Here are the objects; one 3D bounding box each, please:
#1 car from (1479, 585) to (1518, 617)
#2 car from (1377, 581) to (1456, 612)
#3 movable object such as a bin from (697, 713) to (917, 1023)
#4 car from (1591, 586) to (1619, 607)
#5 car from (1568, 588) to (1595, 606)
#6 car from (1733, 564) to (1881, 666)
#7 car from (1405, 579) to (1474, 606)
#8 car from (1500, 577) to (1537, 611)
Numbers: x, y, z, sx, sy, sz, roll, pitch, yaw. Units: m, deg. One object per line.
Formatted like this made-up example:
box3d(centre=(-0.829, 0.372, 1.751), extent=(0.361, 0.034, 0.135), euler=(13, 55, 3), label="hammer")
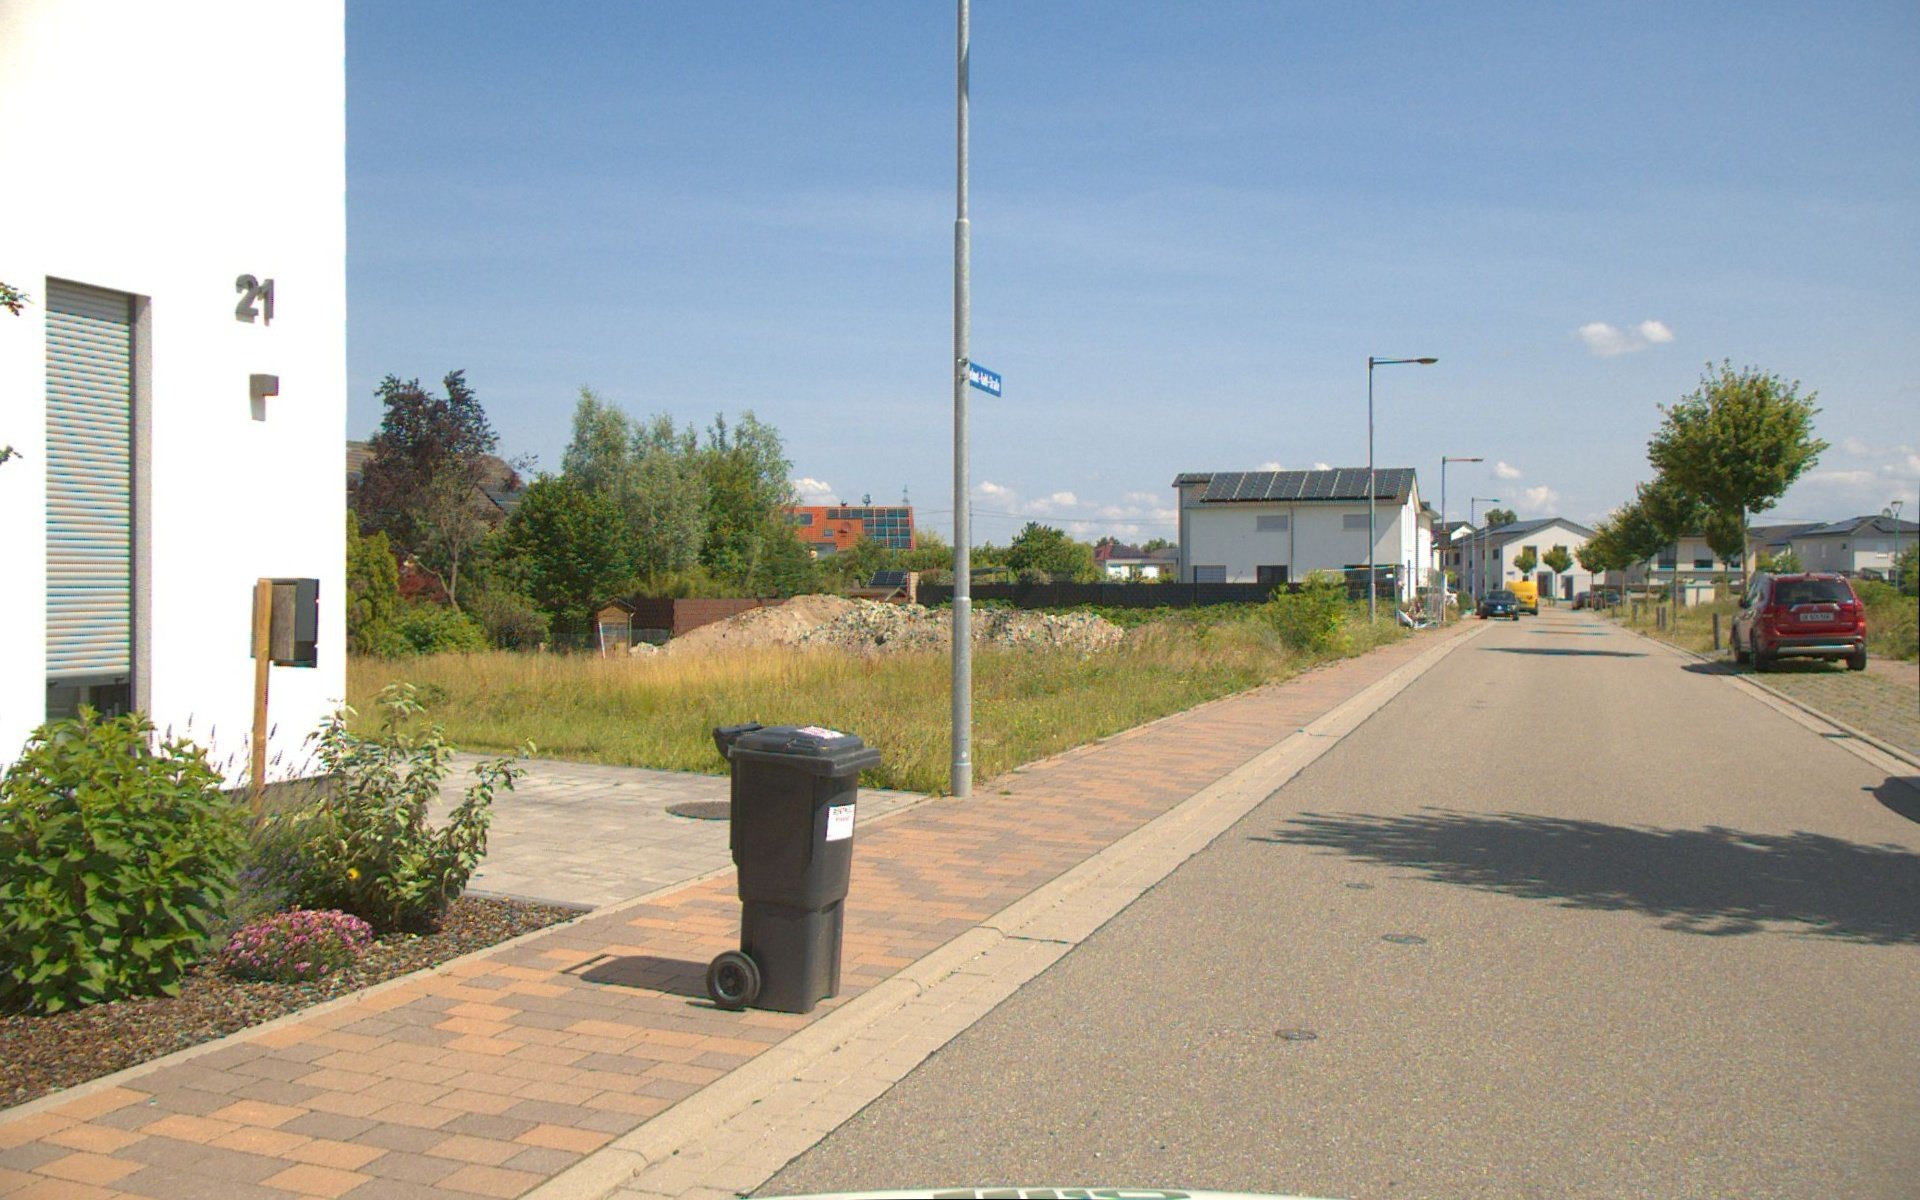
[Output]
box3d(centre=(26.549, 0.032, 81.499), extent=(1.709, 1.429, 4.161), euler=(3, 1, 19), label="car")
box3d(centre=(25.620, -0.227, 92.880), extent=(3.989, 1.609, 1.783), euler=(2, 2, 26), label="car")
box3d(centre=(-0.517, 0.892, 5.706), extent=(0.610, 0.965, 0.500), euler=(0, -1, 15), label="movable object such as a bin")
box3d(centre=(45.675, -0.259, 117.161), extent=(1.605, 1.427, 3.812), euler=(0, -1, 18), label="car")
box3d(centre=(50.760, -0.252, 135.130), extent=(1.593, 1.346, 3.836), euler=(0, -2, 13), label="car")
box3d(centre=(15.302, 0.230, 30.085), extent=(1.740, 1.692, 4.436), euler=(-1, 0, 19), label="car")
box3d(centre=(32.475, -0.496, 112.074), extent=(4.074, 1.530, 1.816), euler=(4, 1, 4), label="car")
box3d(centre=(33.799, -0.345, 100.143), extent=(1.900, 2.016, 4.220), euler=(0, -1, 16), label="car")
